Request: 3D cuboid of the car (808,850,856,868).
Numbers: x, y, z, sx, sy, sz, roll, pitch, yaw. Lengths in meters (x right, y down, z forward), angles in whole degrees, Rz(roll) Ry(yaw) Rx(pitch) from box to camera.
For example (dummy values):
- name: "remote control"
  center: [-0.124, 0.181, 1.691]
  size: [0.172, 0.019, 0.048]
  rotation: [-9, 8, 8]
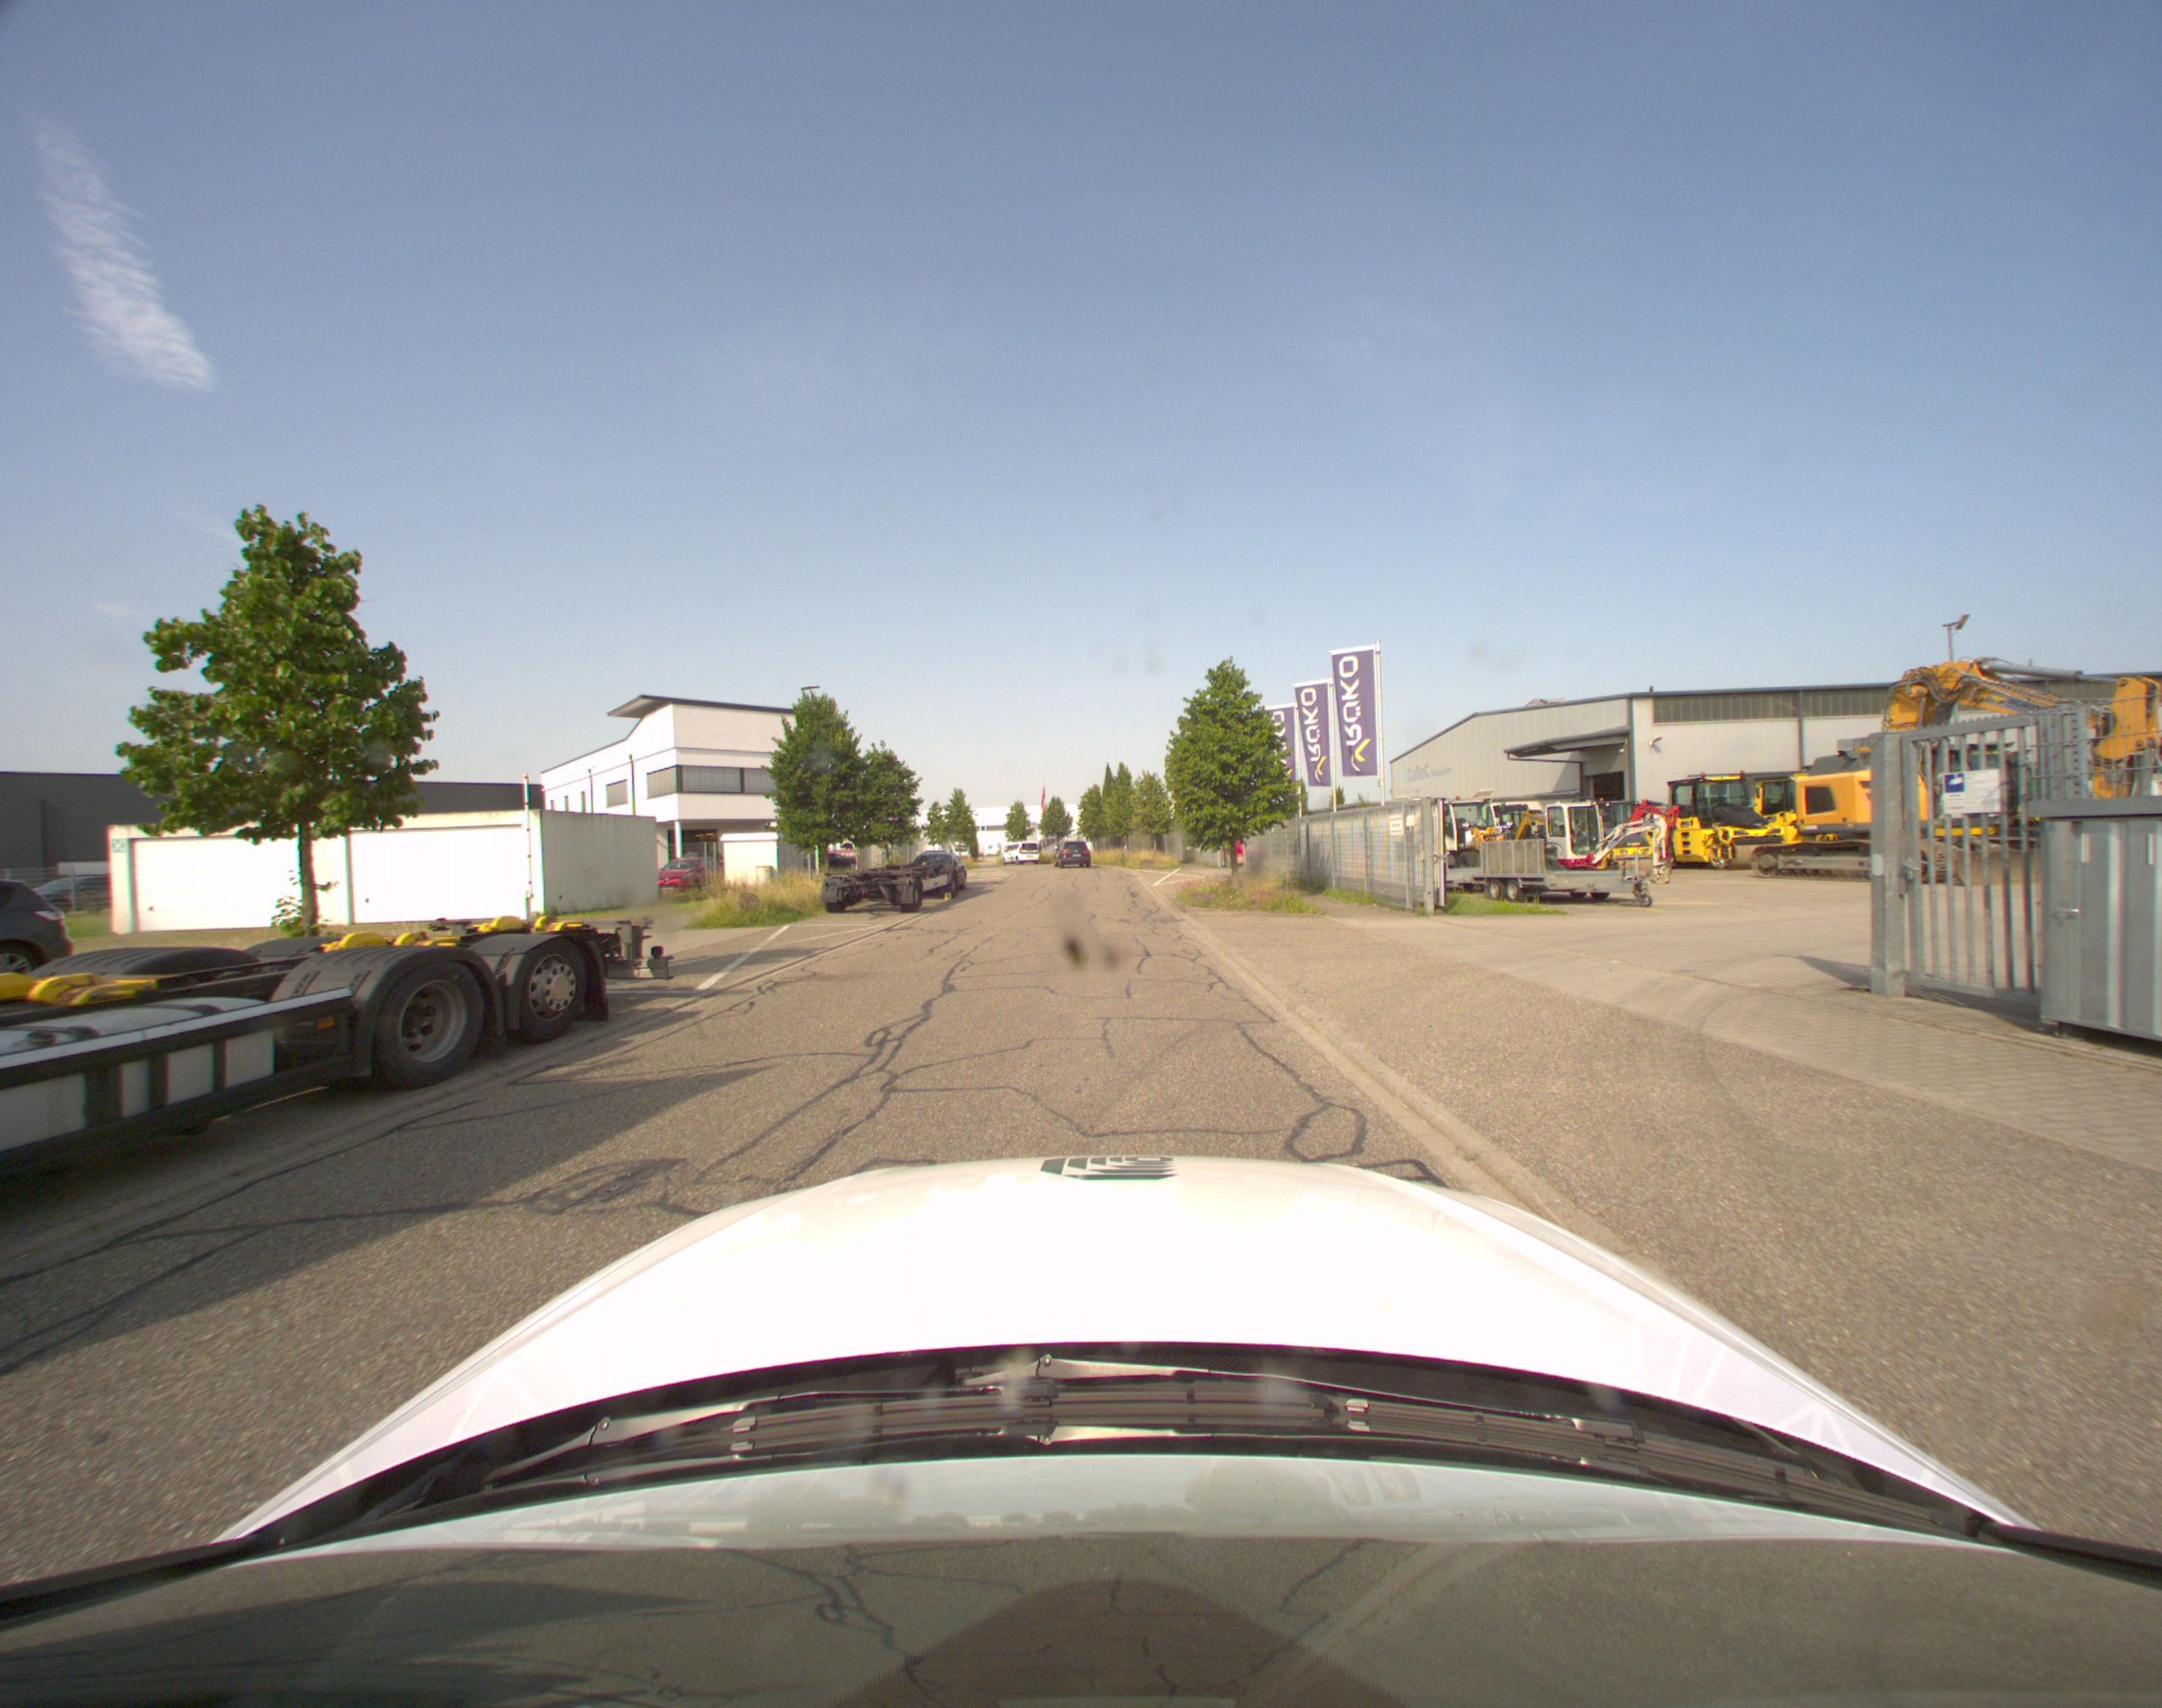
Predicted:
- name: "car"
  center: [-20.958, 0.406, 68.595]
  size: [1.576, 1.454, 3.525]
  rotation: [-1, 0, 43]

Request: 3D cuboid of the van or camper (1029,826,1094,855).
- name: "van or camper"
  center: [-2.248, -1.542, 92.486]
  size: [7.248, 3.031, 2.581]
  rotation: [-2, 0, -5]

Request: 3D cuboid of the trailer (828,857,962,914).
- name: "trailer"
  center: [-5.265, 0.821, 24.357]
  size: [2.122, 1.232, 7.161]
  rotation: [0, 1, 2]

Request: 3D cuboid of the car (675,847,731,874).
- name: "car"
  center: [-22.712, 0.381, 48.872]
  size: [1.880, 1.487, 3.951]
  rotation: [-3, 1, -44]

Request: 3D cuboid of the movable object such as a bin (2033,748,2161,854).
- name: "movable object such as a bin"
  center: [29.227, -1.420, 21.253]
  size: [2.047, 2.768, 5.689]
  rotation: [-3, 1, 0]

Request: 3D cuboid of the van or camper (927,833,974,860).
- name: "van or camper"
  center: [-15.032, -0.792, 93.403]
  size: [2.349, 2.943, 6.893]
  rotation: [-2, 1, -36]

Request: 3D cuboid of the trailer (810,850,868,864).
- name: "trailer"
  center: [-29.708, 0.336, 99.786]
  size: [2.648, 1.388, 9.337]
  rotation: [-6, 3, -45]

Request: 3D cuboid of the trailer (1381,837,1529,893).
- name: "trailer"
  center: [9.706, 0.233, 21.564]
  size: [1.938, 1.243, 4.293]
  rotation: [-2, 1, 0]

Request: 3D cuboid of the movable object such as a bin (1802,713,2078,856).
- name: "movable object such as a bin"
  center: [26.489, -1.978, 25.576]
  size: [2.674, 3.873, 5.721]
  rotation: [-2, 1, 2]

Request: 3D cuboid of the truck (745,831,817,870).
- name: "truck"
  center: [-33.574, -0.304, 90.781]
  size: [2.650, 3.929, 12.760]
  rotation: [-2, 0, -43]

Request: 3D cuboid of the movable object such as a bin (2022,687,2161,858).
- name: "movable object such as a bin"
  center: [26.323, -1.926, 17.899]
  size: [2.909, 3.928, 7.207]
  rotation: [-3, 1, 0]

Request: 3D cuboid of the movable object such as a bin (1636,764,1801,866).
- name: "movable object such as a bin"
  center: [21.010, -1.211, 27.134]
  size: [1.985, 3.031, 4.494]
  rotation: [-2, 1, 2]

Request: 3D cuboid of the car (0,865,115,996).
- name: "car"
  center: [-15.184, 1.087, 9.561]
  size: [1.987, 1.686, 4.698]
  rotation: [-3, 1, 0]

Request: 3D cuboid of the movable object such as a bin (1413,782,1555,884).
- name: "movable object such as a bin"
  center: [12.239, -0.629, 25.182]
  size: [1.879, 2.752, 5.162]
  rotation: [-2, 1, 2]

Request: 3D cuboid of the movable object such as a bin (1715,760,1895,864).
- name: "movable object such as a bin"
  center: [23.314, -1.273, 26.500]
  size: [1.985, 3.031, 4.375]
  rotation: [-2, 1, 2]

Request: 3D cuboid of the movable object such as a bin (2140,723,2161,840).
- name: "movable object such as a bin"
  center: [37.836, -2.490, 24.446]
  size: [2.460, 3.929, 7.196]
  rotation: [-3, 0, -2]

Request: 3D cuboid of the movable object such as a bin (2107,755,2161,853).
- name: "movable object such as a bin"
  center: [31.813, -1.436, 21.574]
  size: [2.047, 2.768, 5.689]
  rotation: [-3, 1, 0]

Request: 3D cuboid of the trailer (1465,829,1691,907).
- name: "trailer"
  center: [9.891, 0.251, 16.745]
  size: [1.986, 1.310, 4.566]
  rotation: [-2, 0, 2]

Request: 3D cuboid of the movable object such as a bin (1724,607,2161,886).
- name: "movable object such as a bin"
  center: [18.970, -1.984, 18.028]
  size: [3.306, 4.806, 7.672]
  rotation: [-2, 1, 0]

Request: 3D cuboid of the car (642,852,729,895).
- name: "car"
  center: [-16.657, 0.759, 34.545]
  size: [1.767, 1.525, 4.299]
  rotation: [-2, 2, -4]

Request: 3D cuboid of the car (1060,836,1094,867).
- name: "car"
  center: [-0.183, -0.179, 51.070]
  size: [1.986, 1.804, 4.002]
  rotation: [0, 1, 1]

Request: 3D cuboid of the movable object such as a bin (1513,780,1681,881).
- name: "movable object such as a bin"
  center: [14.336, -0.633, 23.002]
  size: [1.983, 2.458, 4.771]
  rotation: [-2, 1, 5]

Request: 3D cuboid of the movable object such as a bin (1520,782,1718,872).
- name: "movable object such as a bin"
  center: [17.071, -0.812, 26.327]
  size: [2.911, 2.491, 5.341]
  rotation: [-2, 1, 2]

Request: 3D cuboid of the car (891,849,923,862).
- name: "car"
  center: [-21.566, 0.142, 100.948]
  size: [2.149, 1.476, 4.018]
  rotation: [-2, 1, 16]

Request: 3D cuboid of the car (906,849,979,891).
- name: "car"
  center: [-5.389, 0.580, 32.309]
  size: [1.986, 1.466, 4.434]
  rotation: [0, 1, 2]

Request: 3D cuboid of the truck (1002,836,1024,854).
- name: "truck"
  center: [-10.917, -1.483, 130.947]
  size: [2.441, 2.826, 8.006]
  rotation: [-2, 1, 2]

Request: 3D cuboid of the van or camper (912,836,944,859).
- name: "van or camper"
  center: [-21.517, -1.026, 115.098]
  size: [2.789, 3.083, 7.971]
  rotation: [-2, 1, 1]

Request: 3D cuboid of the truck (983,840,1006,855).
- name: "truck"
  center: [-13.880, -1.094, 131.029]
  size: [2.441, 2.265, 8.006]
  rotation: [-2, 1, 2]

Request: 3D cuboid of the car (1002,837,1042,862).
- name: "car"
  center: [-4.835, -0.341, 66.313]
  size: [2.001, 1.899, 4.436]
  rotation: [-2, 1, -21]

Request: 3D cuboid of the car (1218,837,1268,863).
- name: "car"
  center: [9.613, -0.263, 48.723]
  size: [1.876, 1.357, 4.769]
  rotation: [-2, 1, -2]

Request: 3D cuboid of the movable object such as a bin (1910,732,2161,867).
- name: "movable object such as a bin"
  center: [23.131, -1.199, 18.207]
  size: [2.692, 2.715, 6.348]
  rotation: [-3, 1, 0]

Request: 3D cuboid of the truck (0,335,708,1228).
- name: "truck"
  center: [-5.868, -0.316, 4.762]
  size: [2.445, 3.881, 9.809]
  rotation: [0, 0, 3]

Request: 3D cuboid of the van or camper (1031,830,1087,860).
- name: "van or camper"
  center: [-2.240, -0.834, 81.027]
  size: [2.364, 2.847, 7.271]
  rotation: [-2, 0, -30]
